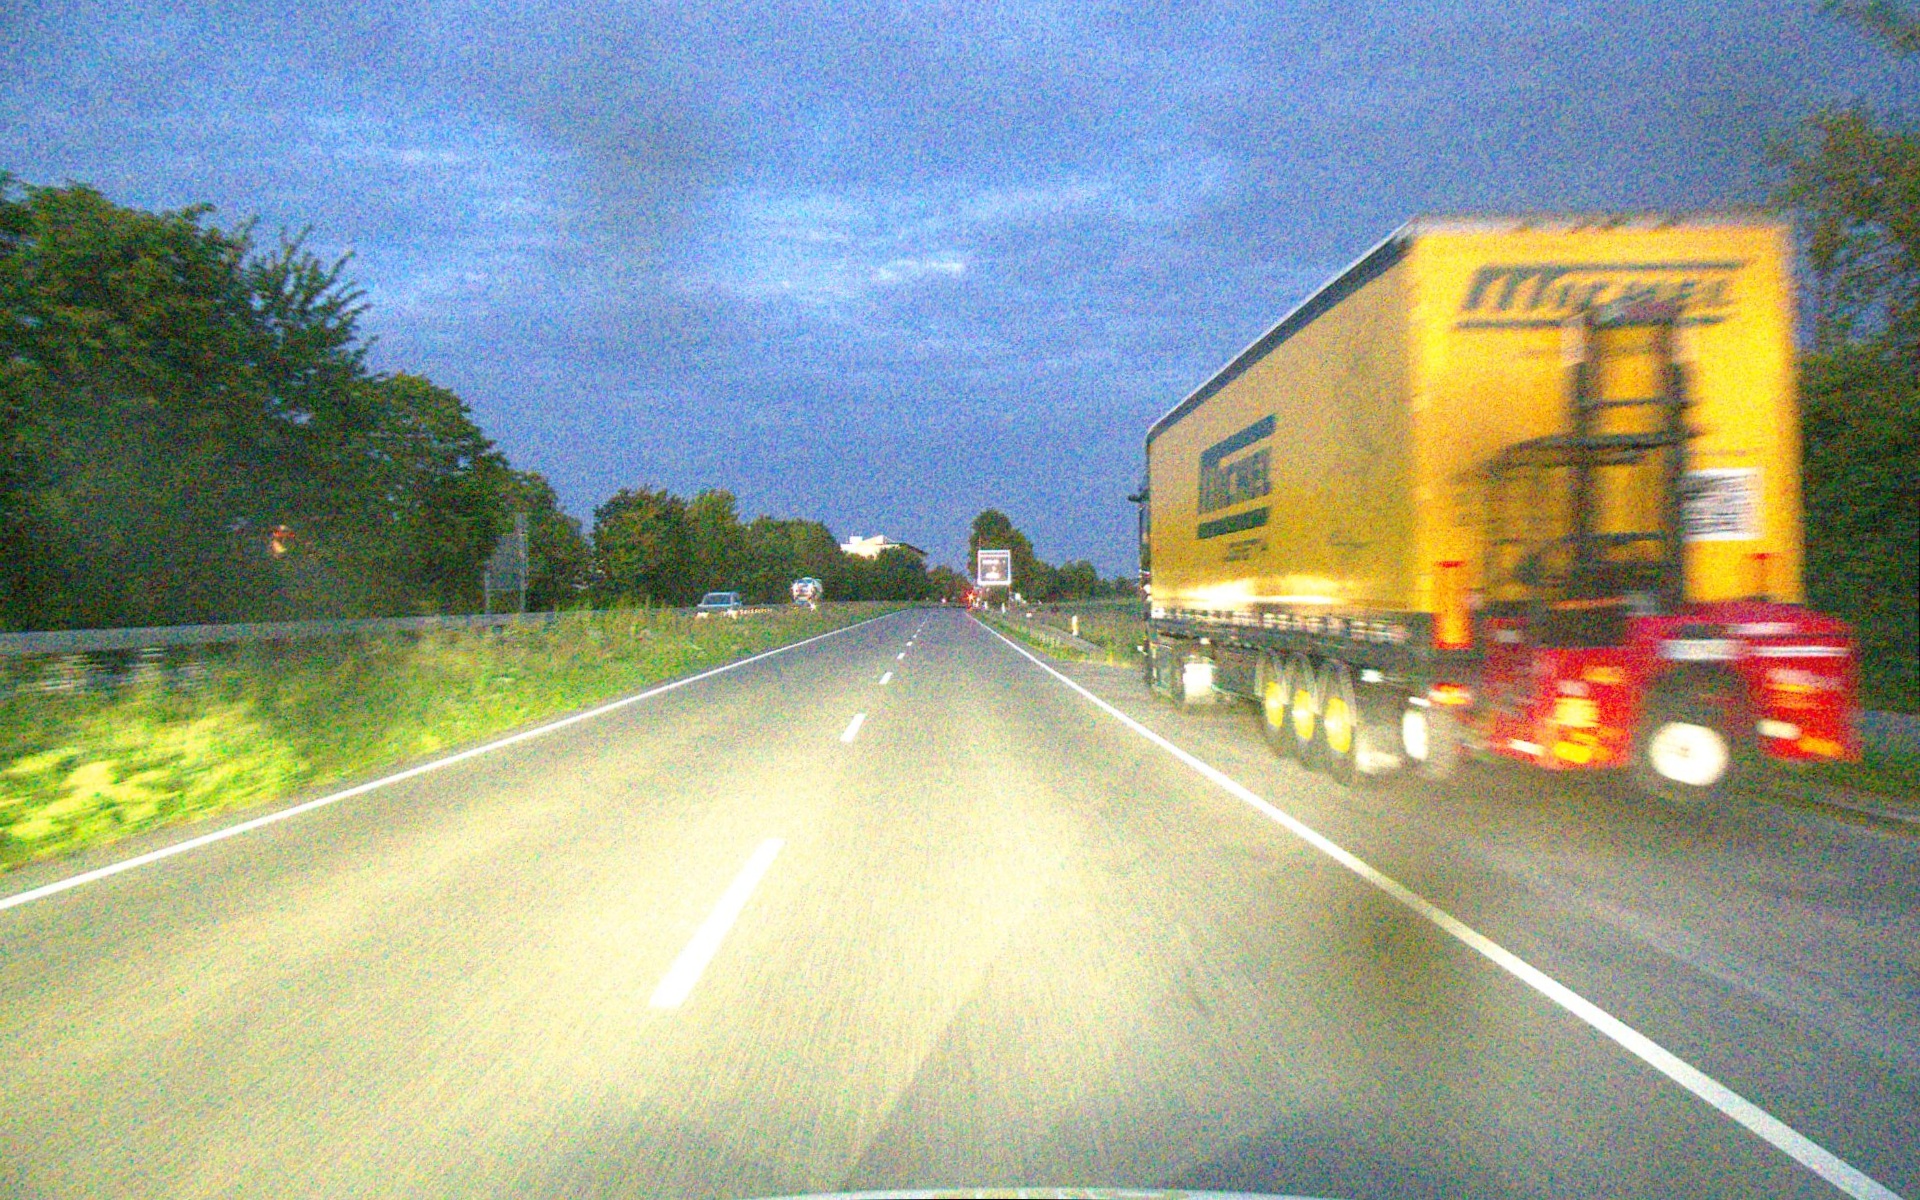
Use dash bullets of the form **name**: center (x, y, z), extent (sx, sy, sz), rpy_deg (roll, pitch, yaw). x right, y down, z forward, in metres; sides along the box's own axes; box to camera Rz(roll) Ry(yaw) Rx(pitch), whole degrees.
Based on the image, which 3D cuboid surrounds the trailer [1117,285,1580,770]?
- **trailer**: center (3.988, -0.645, 20.808), extent (2.569, 4.175, 12.935), rpy_deg (-1, 0, -1)

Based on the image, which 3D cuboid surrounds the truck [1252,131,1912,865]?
- **truck**: center (4.089, -0.605, 12.481), extent (2.527, 4.142, 6.128), rpy_deg (1, 1, -1)

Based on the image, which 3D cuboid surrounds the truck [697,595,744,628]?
- **truck**: center (-13.111, 0.627, 90.843), extent (1.975, 1.681, 4.772), rpy_deg (1, 0, -2)

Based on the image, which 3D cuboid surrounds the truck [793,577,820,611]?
- **truck**: center (-16.678, -0.610, 179.733), extent (2.173, 3.505, 6.714), rpy_deg (1, 0, 0)
